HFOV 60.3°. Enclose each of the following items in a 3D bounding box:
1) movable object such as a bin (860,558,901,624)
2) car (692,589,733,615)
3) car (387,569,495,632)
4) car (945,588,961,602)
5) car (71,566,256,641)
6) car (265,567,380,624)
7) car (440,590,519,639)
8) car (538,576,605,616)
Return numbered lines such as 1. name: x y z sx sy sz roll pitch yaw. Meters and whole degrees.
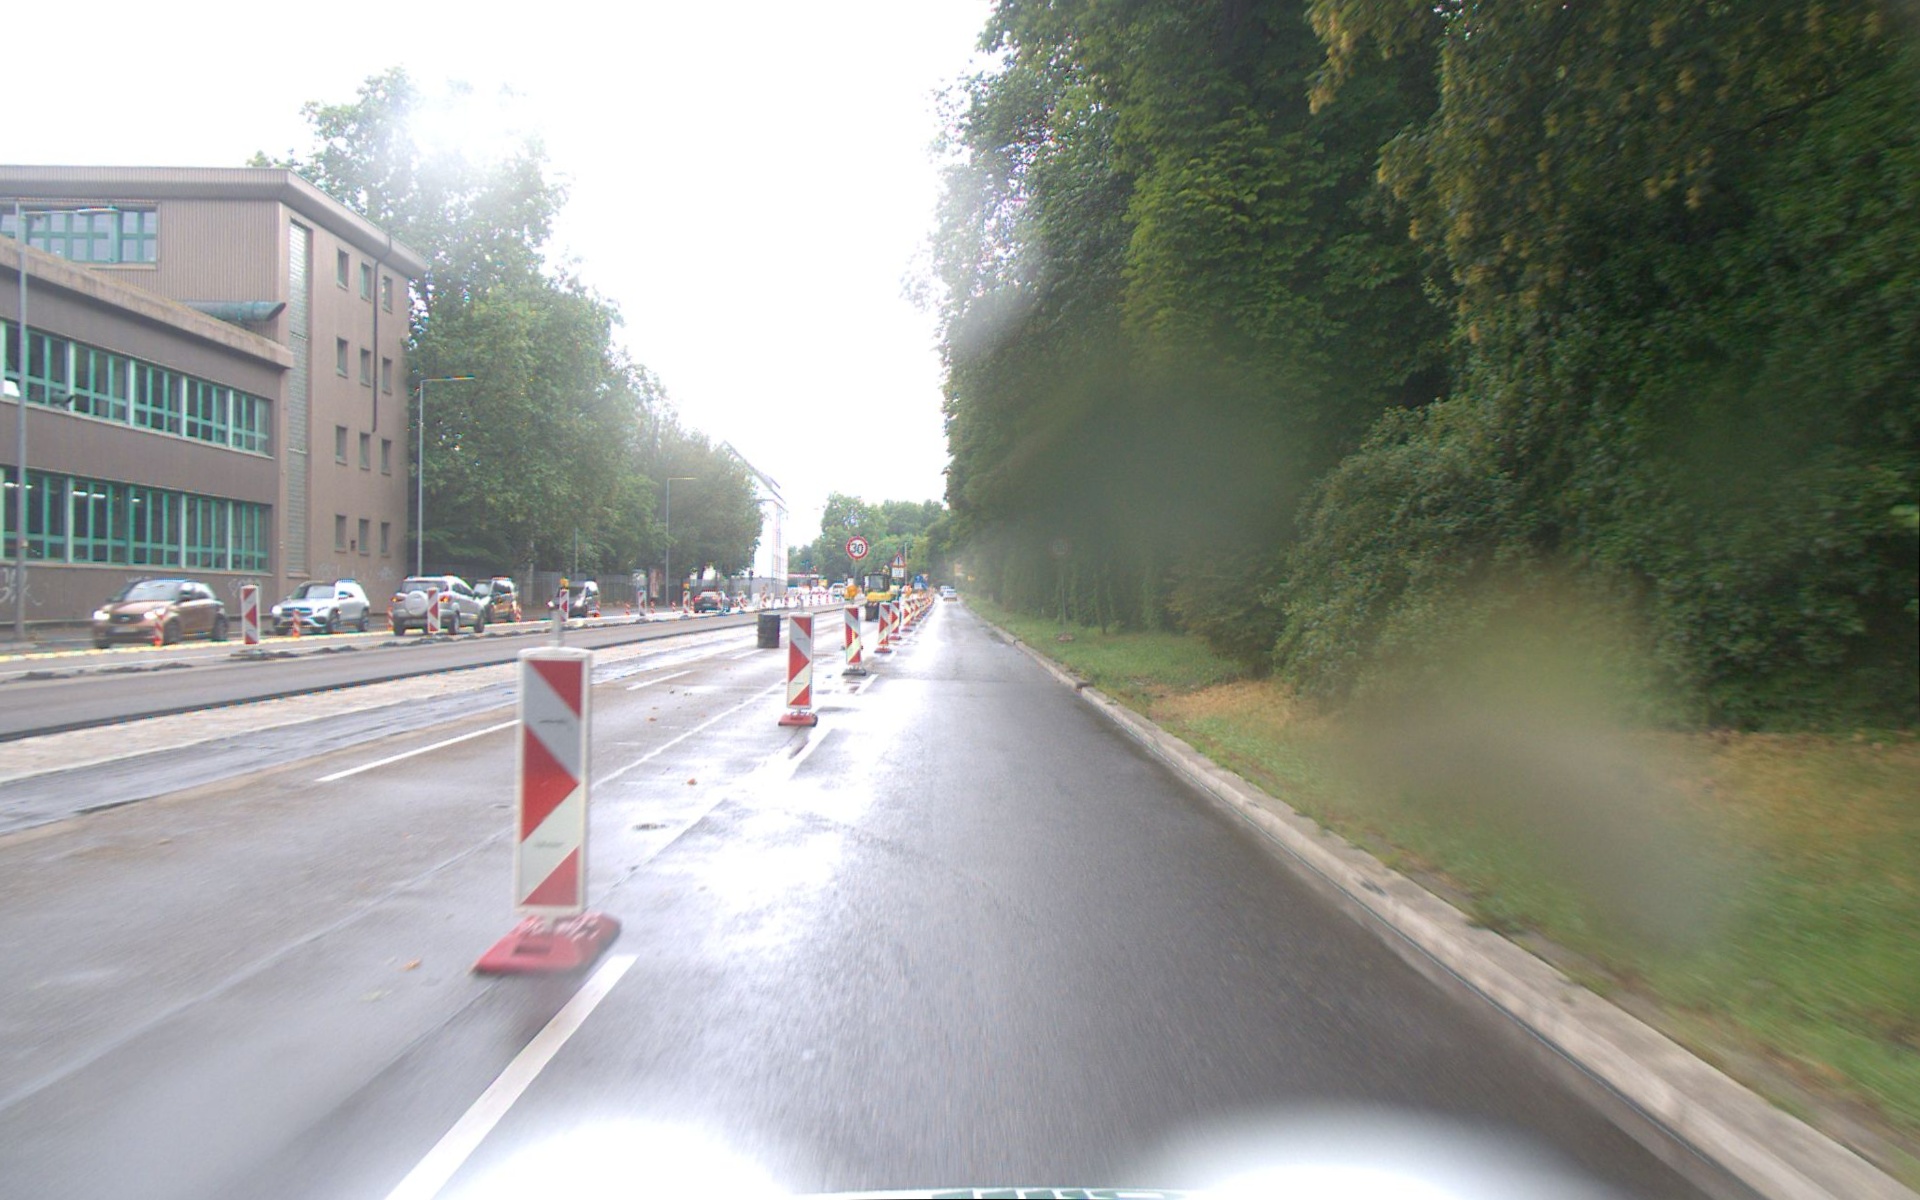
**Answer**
1. movable object such as a bin: -4.328 -0.476 91.011 1.953 3.426 5.981 1 0 0
2. car: -15.290 0.117 102.191 1.953 1.545 3.999 1 0 -1
3. car: -14.718 0.011 47.094 1.817 1.677 3.999 1 0 -1
4. car: -0.918 -0.654 214.642 1.953 1.702 4.000 1 0 0
5. car: -17.699 0.073 37.026 1.855 1.528 4.516 1 0 1
6. car: -20.692 -0.139 53.899 1.898 1.736 4.934 1 0 -2
7. car: -20.736 0.600 71.582 1.953 1.952 5.362 1 0 -2
8. car: -18.713 -0.178 79.892 1.952 1.811 4.955 1 0 1
